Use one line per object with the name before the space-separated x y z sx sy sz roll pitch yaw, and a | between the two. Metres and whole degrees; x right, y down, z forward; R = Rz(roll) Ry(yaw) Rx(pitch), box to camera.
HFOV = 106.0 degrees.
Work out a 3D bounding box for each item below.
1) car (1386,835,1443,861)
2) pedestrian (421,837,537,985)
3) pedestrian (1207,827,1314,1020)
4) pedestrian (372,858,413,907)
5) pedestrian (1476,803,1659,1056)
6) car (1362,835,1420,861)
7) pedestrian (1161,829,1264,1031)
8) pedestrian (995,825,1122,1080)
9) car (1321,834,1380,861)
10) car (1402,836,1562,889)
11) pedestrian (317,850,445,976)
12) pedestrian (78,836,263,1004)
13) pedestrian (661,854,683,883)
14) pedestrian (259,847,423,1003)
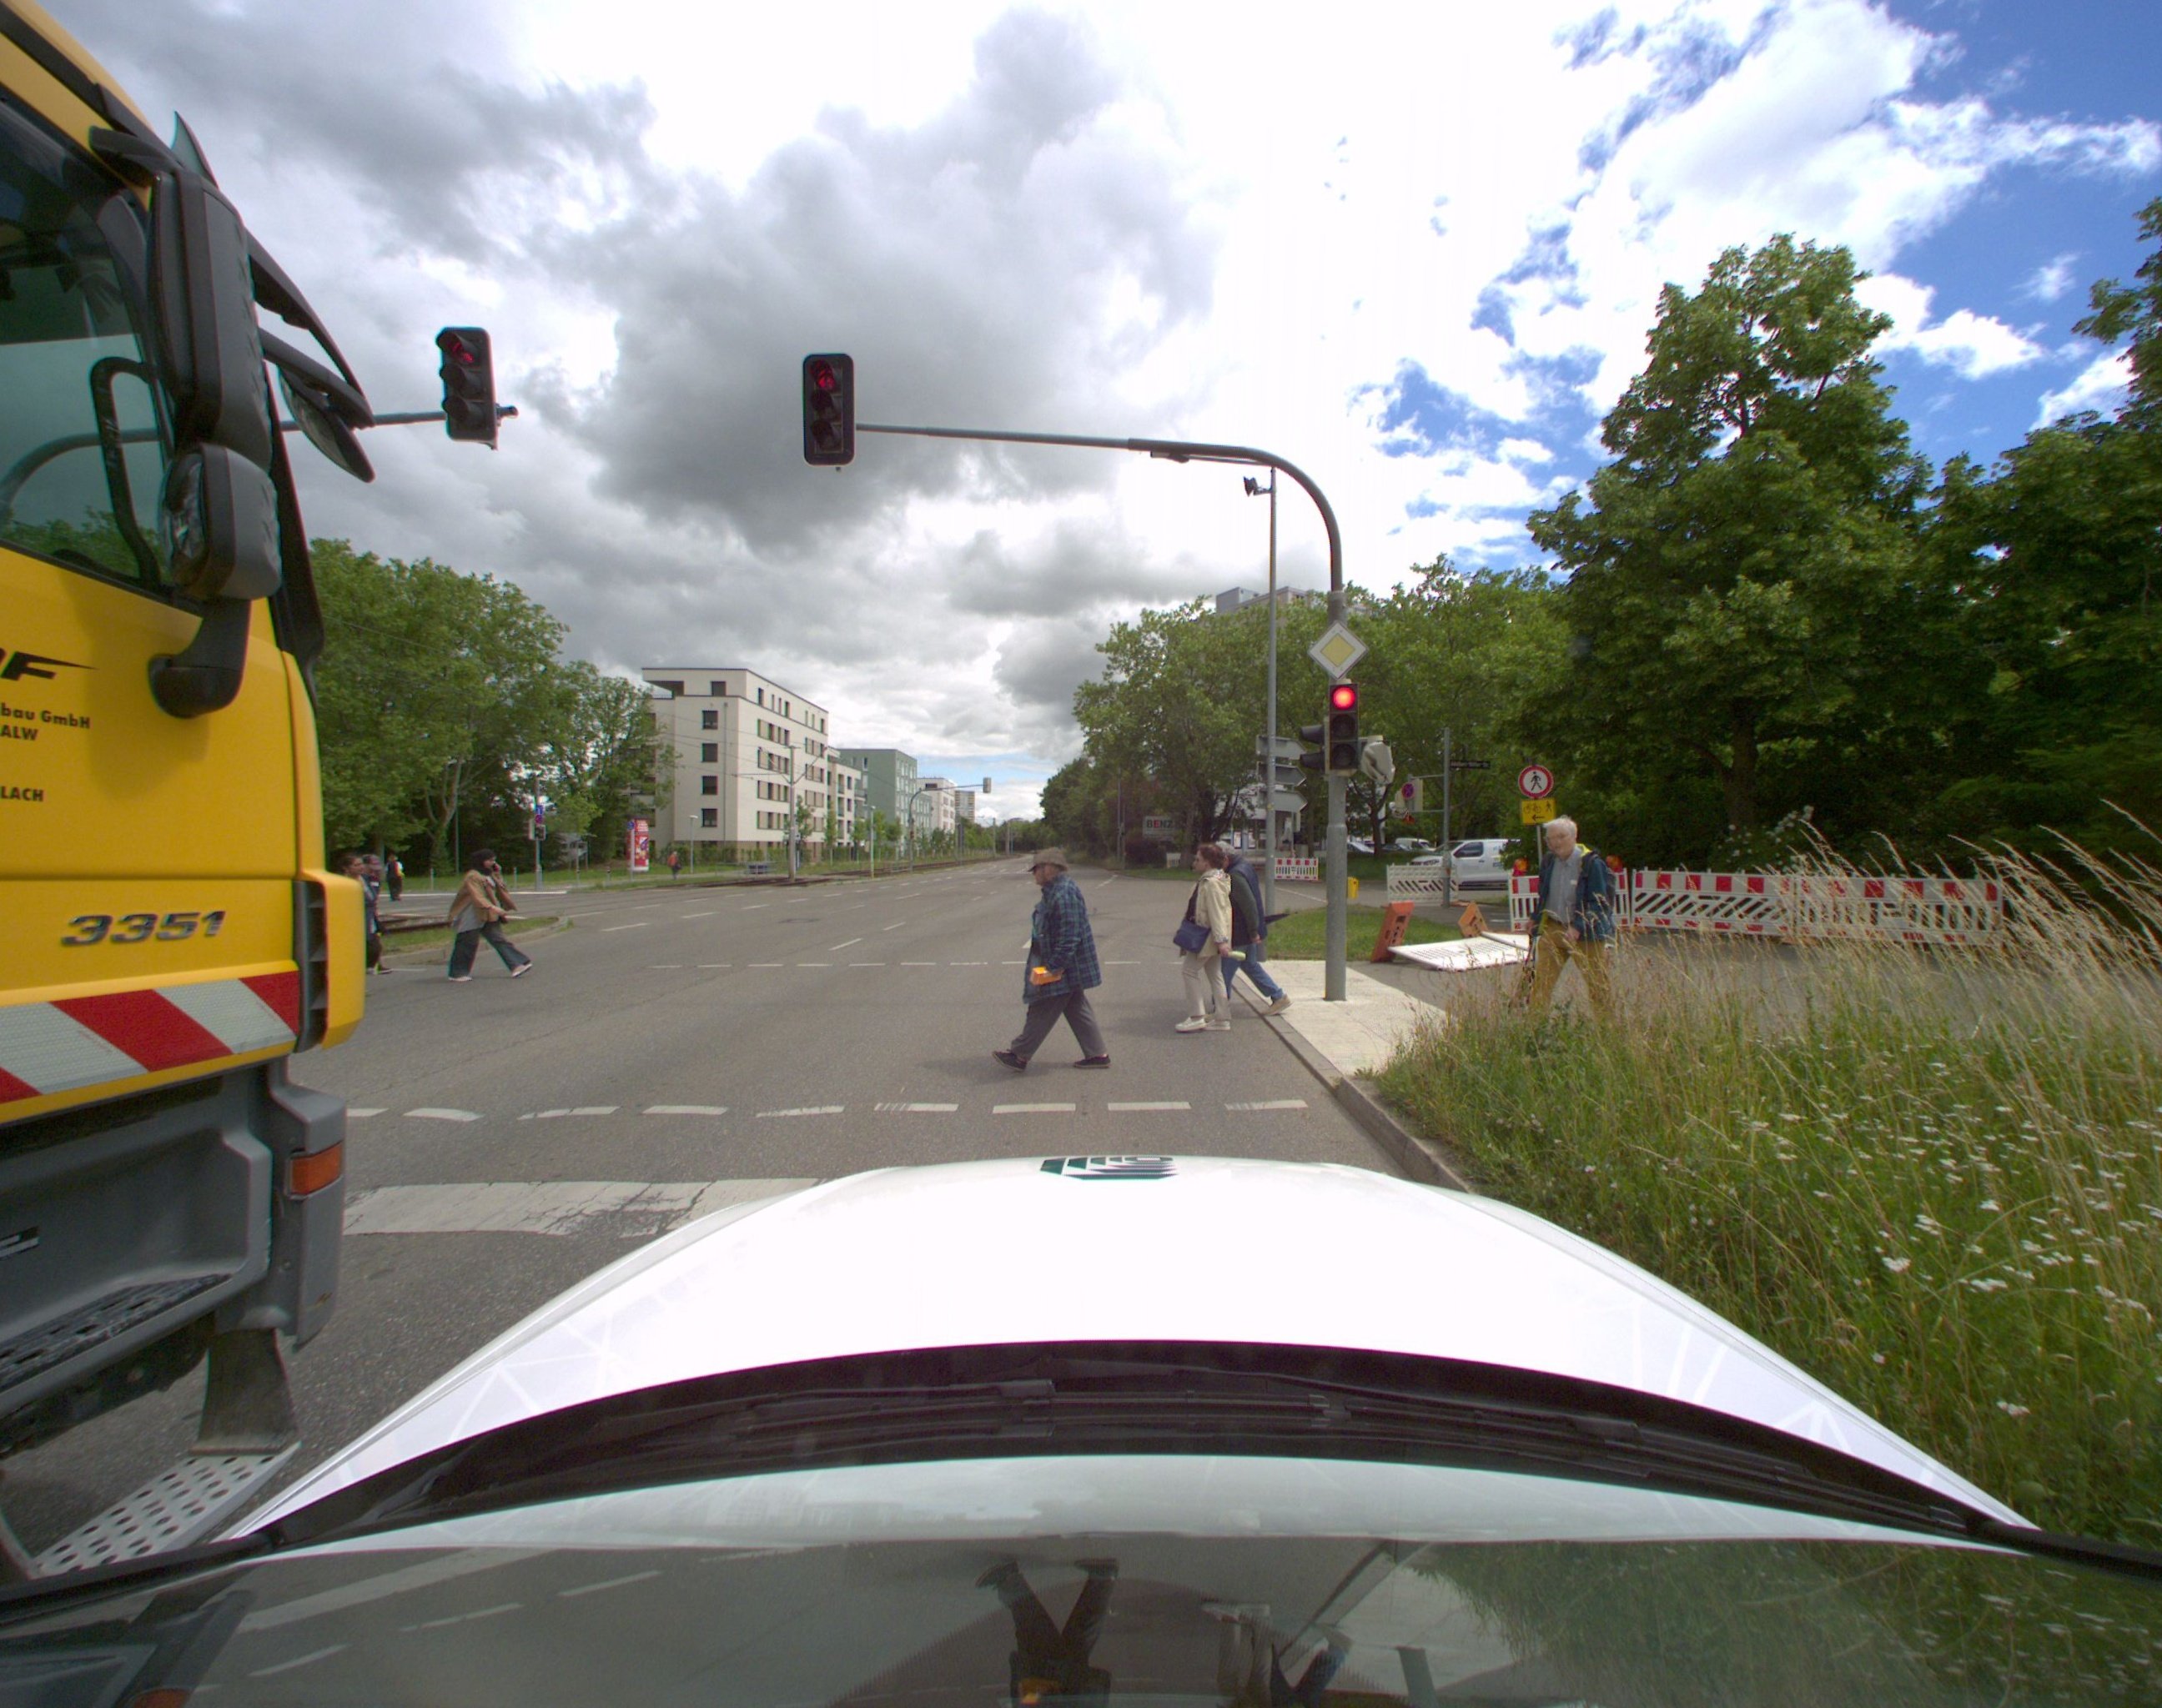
car | 27.318 -0.500 66.869 2.006 2.013 3.962 -1 0 -29
pedestrian | -7.422 0.674 10.077 0.779 1.742 0.829 -1 0 2
pedestrian | 1.588 0.589 7.326 0.864 1.634 0.767 -1 0 7
pedestrian | -24.077 0.973 28.478 1.075 1.648 0.700 -1 0 -41
pedestrian | 3.812 0.524 6.389 1.018 1.774 0.937 -1 0 -40
car | 24.603 -0.496 64.735 2.006 2.013 3.962 -1 0 -29
pedestrian | 1.110 0.618 7.003 0.818 1.640 0.735 -1 0 6
pedestrian | -0.183 0.641 5.748 0.821 1.671 0.732 -1 0 -7
car | 20.572 -0.488 62.253 2.006 2.013 3.962 -1 0 -29
car | 14.924 0.300 30.458 5.063 1.874 1.947 -1 0 -2
pedestrian | -9.281 0.752 10.840 0.889 1.596 0.908 -1 0 2
pedestrian | -10.137 0.699 9.113 0.998 1.773 0.930 -1 0 2
pedestrian | -21.740 0.775 43.320 0.827 1.516 0.636 -1 0 1
pedestrian | -8.037 0.730 8.890 0.909 1.607 0.930 -1 0 2
